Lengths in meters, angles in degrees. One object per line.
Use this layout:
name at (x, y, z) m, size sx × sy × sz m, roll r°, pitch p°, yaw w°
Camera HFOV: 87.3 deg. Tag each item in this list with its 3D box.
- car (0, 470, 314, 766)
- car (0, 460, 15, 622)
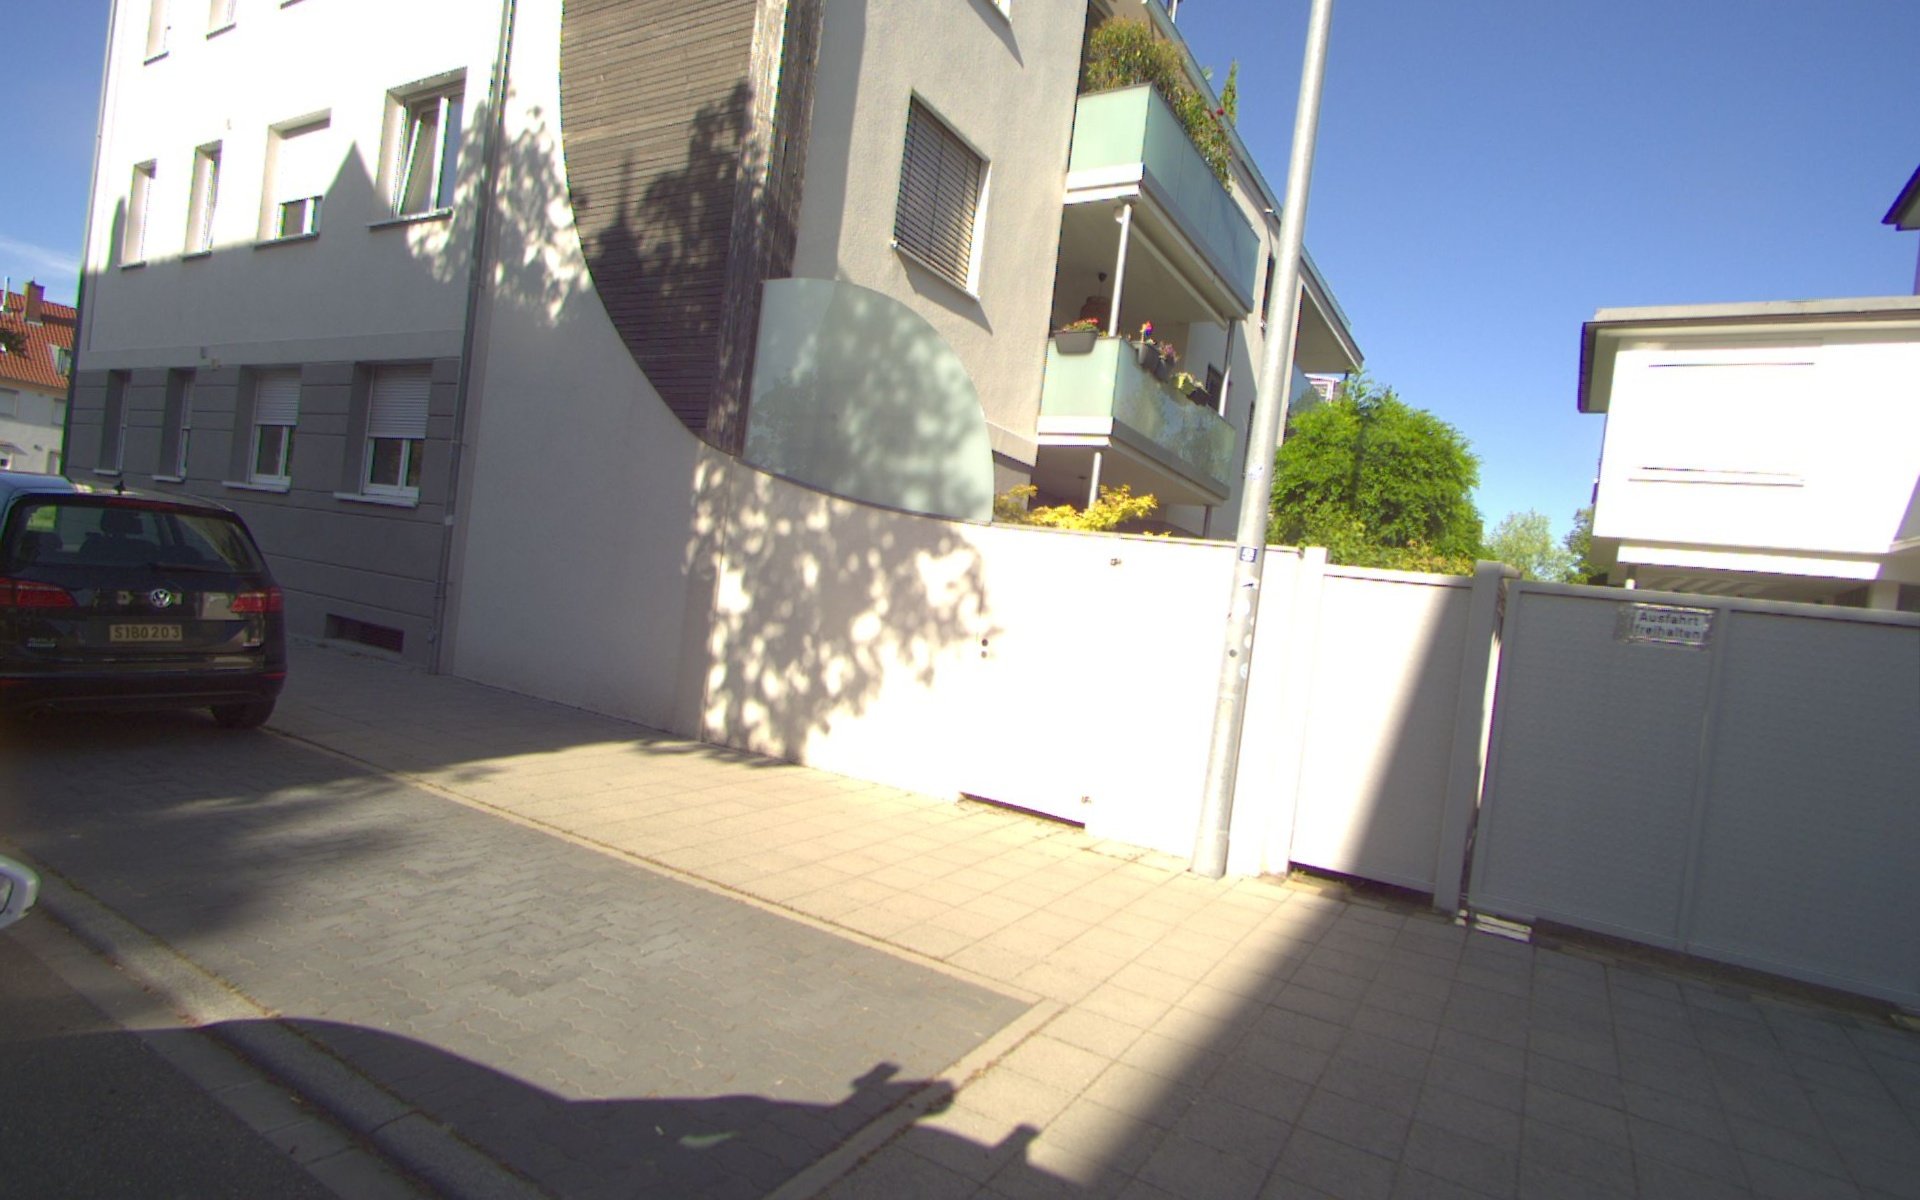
car at (-6.427, -0.092, 6.869) m, size 4.109 × 1.552 × 1.737 m, roll 7°, pitch 3°, yaw 31°
car at (-10.779, -0.697, 9.504) m, size 4.195 × 1.455 × 1.681 m, roll 5°, pitch 3°, yaw 32°
